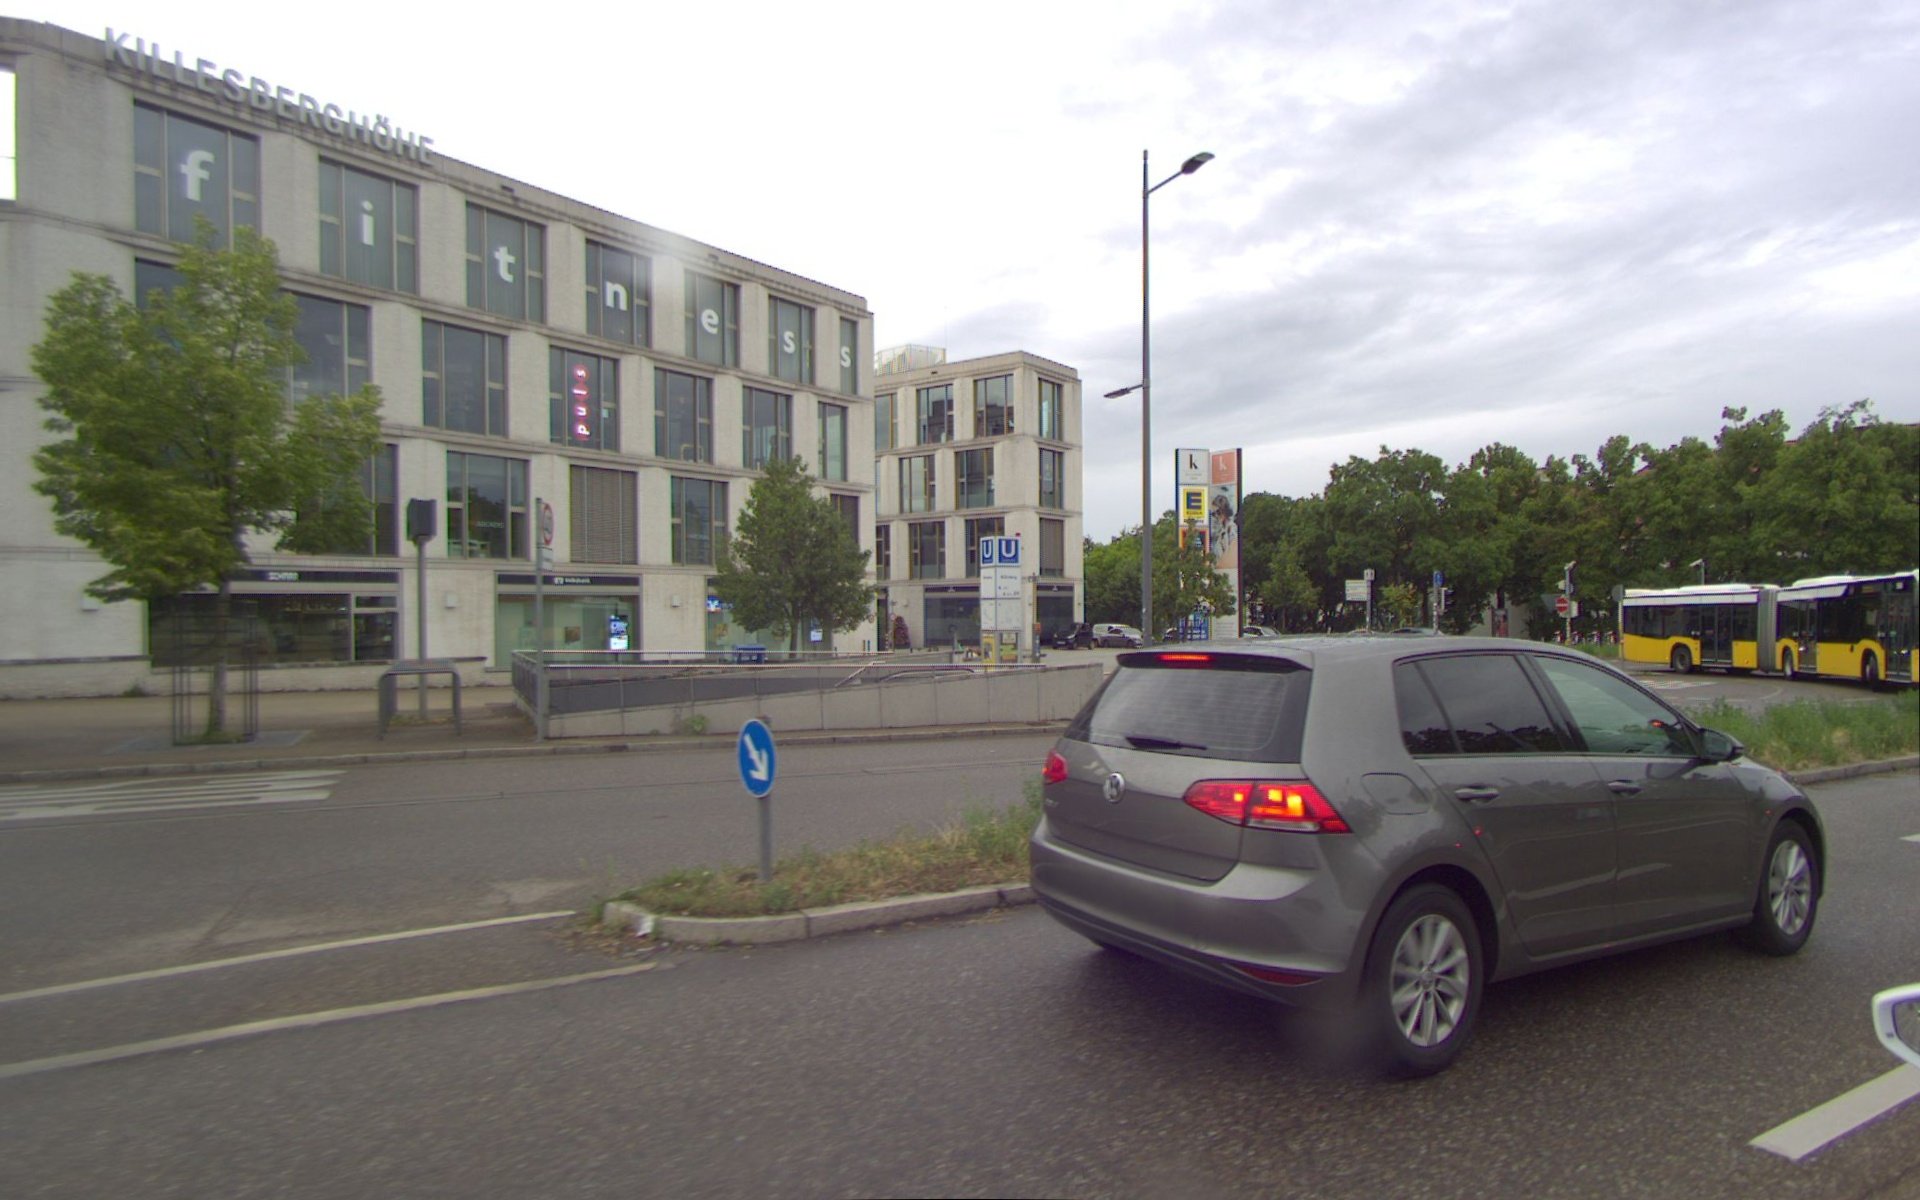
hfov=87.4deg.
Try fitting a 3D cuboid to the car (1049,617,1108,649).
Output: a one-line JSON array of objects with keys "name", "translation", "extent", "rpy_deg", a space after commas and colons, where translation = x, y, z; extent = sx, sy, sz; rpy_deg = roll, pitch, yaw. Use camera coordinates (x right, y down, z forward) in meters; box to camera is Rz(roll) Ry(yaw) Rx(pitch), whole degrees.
[{"name": "car", "translation": [6.898, 1.882, 58.161], "extent": [1.749, 1.754, 3.988], "rpy_deg": [0, -1, 34]}]

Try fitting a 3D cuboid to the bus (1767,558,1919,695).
[{"name": "bus", "translation": [25.165, 0.721, 26.975], "extent": [2.842, 3.144, 9.753], "rpy_deg": [0, -1, 23]}]

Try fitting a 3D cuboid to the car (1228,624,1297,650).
[{"name": "car", "translation": [18.009, 2.192, 59.847], "extent": [1.823, 1.444, 3.757], "rpy_deg": [1, 0, -29]}]

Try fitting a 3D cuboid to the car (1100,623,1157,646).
[{"name": "car", "translation": [11.120, 2.258, 66.649], "extent": [1.648, 1.444, 3.950], "rpy_deg": [1, 0, -29]}]

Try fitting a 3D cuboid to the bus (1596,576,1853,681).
[{"name": "bus", "translation": [27.238, 1.001, 36.512], "extent": [2.840, 3.351, 8.577], "rpy_deg": [0, -1, 0]}]

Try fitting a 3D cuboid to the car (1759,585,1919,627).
[{"name": "car", "translation": [32.840, 0.216, 37.406], "extent": [1.981, 1.444, 4.473], "rpy_deg": [1, -1, -36]}]

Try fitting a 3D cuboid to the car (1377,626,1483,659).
[{"name": "car", "translation": [23.062, 2.077, 49.430], "extent": [1.976, 1.444, 4.427], "rpy_deg": [1, -1, -29]}]

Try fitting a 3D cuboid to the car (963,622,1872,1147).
[{"name": "car", "translation": [2.242, 0.866, 4.653], "extent": [4.149, 1.448, 1.797], "rpy_deg": [1, -3, -31]}]

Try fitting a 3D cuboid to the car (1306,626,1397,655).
[{"name": "car", "translation": [22.373, 2.297, 57.618], "extent": [1.823, 1.444, 4.842], "rpy_deg": [1, -1, -29]}]

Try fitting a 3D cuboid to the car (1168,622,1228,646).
[{"name": "car", "translation": [15.718, 2.239, 66.497], "extent": [1.823, 1.444, 3.757], "rpy_deg": [1, 0, -29]}]

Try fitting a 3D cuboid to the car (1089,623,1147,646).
[{"name": "car", "translation": [11.633, 2.555, 74.279], "extent": [1.939, 1.551, 4.512], "rpy_deg": [1, 0, -28]}]
